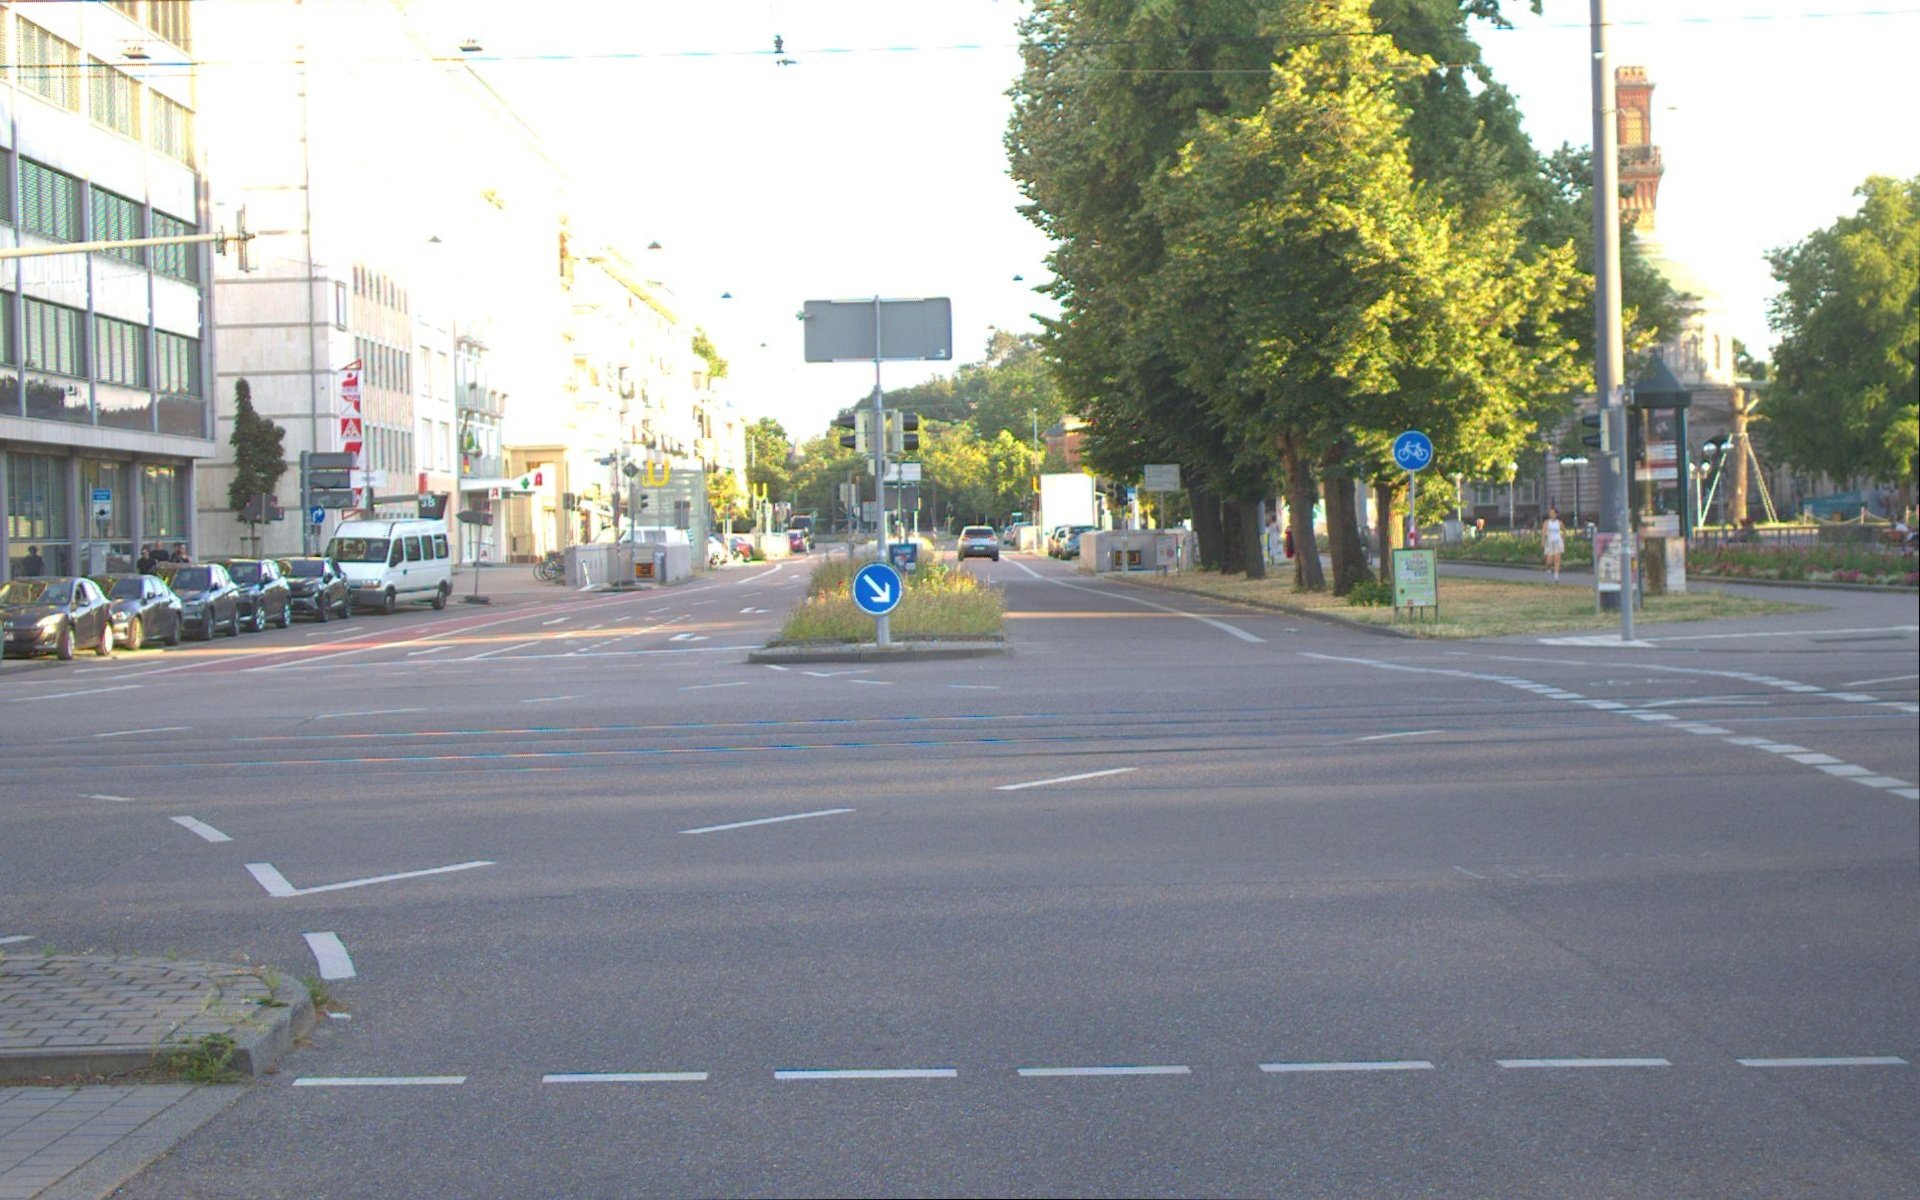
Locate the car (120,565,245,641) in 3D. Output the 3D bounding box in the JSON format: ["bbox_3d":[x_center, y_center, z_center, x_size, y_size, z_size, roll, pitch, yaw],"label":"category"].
[{"bbox_3d":[-16.536,0.086,73.289,1.796,1.470,4.000,-1,-1,-1],"label":"car"}]

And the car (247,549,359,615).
[{"bbox_3d":[-16.197,-0.425,84.879,1.796,1.470,3.999,-2,-1,3],"label":"car"}]

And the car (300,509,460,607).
[{"bbox_3d":[-15.367,-1.075,91.465,2.177,2.377,5.986,-2,-1,11],"label":"car"}]

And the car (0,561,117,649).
[{"bbox_3d":[-16.554,0.115,61.882,1.796,1.470,4.000,-1,-1,-1],"label":"car"}]

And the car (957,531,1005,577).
[{"bbox_3d":[0.945,-2.120,156.952,1.993,2.007,4.000,-2,1,-1],"label":"car"}]

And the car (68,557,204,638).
[{"bbox_3d":[-16.386,-0.026,68.532,1.796,1.470,4.000,-1,-1,-1],"label":"car"}]

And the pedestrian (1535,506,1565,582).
[{"bbox_3d":[13.092,-1.248,76.280,0.508,1.663,0.531,-1,1,-1],"label":"pedestrian"}]

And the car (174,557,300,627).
[{"bbox_3d":[-16.469,-0.157,78.480,1.796,1.470,3.999,-2,-1,3],"label":"car"}]
